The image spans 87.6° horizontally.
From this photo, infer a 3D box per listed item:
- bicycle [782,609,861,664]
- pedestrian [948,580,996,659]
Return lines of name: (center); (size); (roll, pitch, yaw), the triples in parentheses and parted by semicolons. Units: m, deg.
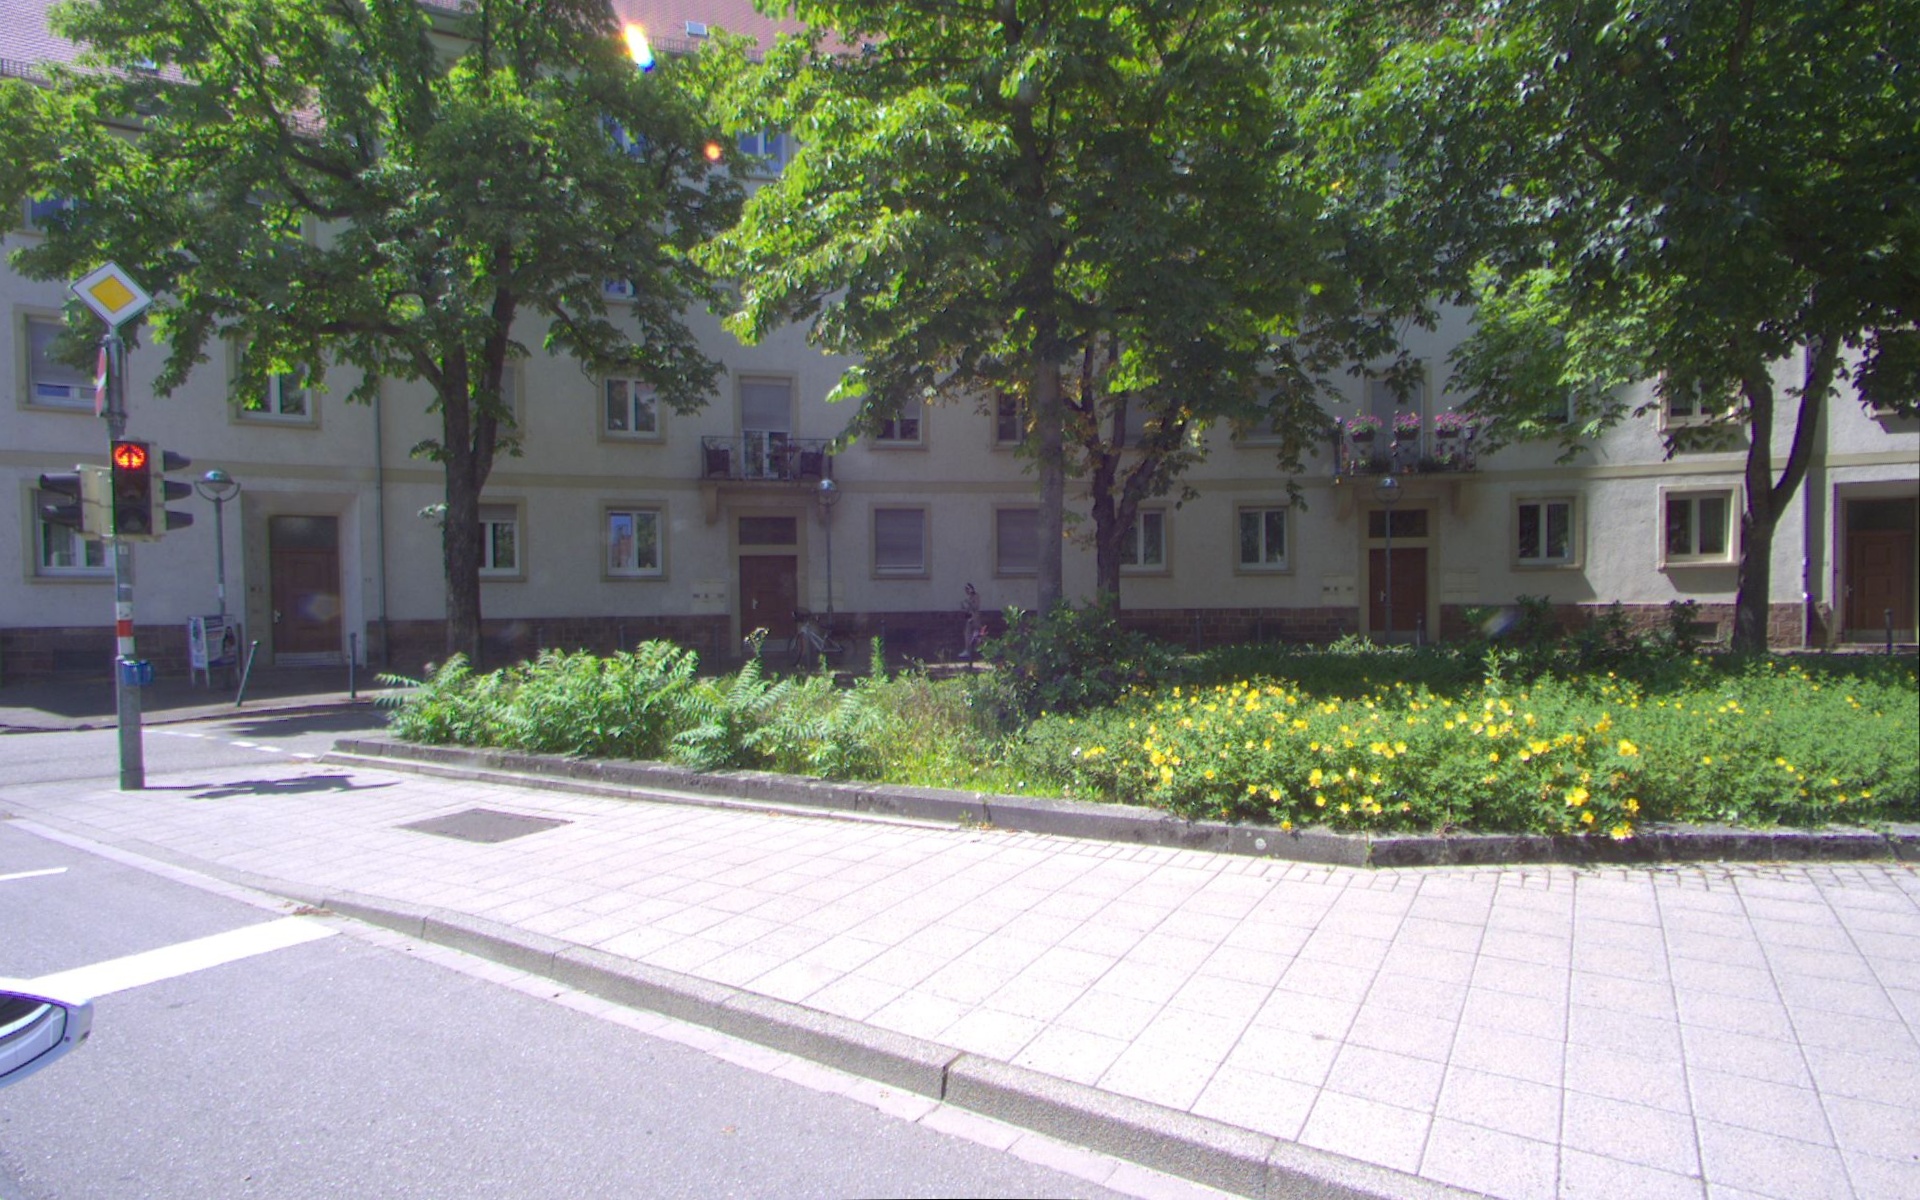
bicycle: (-2.879, 0.754, 20.875); (1.575, 1.119, 0.525); (-1, 1, -4)
pedestrian: (0.268, 0.438, 22.817); (1.037, 1.715, 0.652); (-1, 6, -1)
